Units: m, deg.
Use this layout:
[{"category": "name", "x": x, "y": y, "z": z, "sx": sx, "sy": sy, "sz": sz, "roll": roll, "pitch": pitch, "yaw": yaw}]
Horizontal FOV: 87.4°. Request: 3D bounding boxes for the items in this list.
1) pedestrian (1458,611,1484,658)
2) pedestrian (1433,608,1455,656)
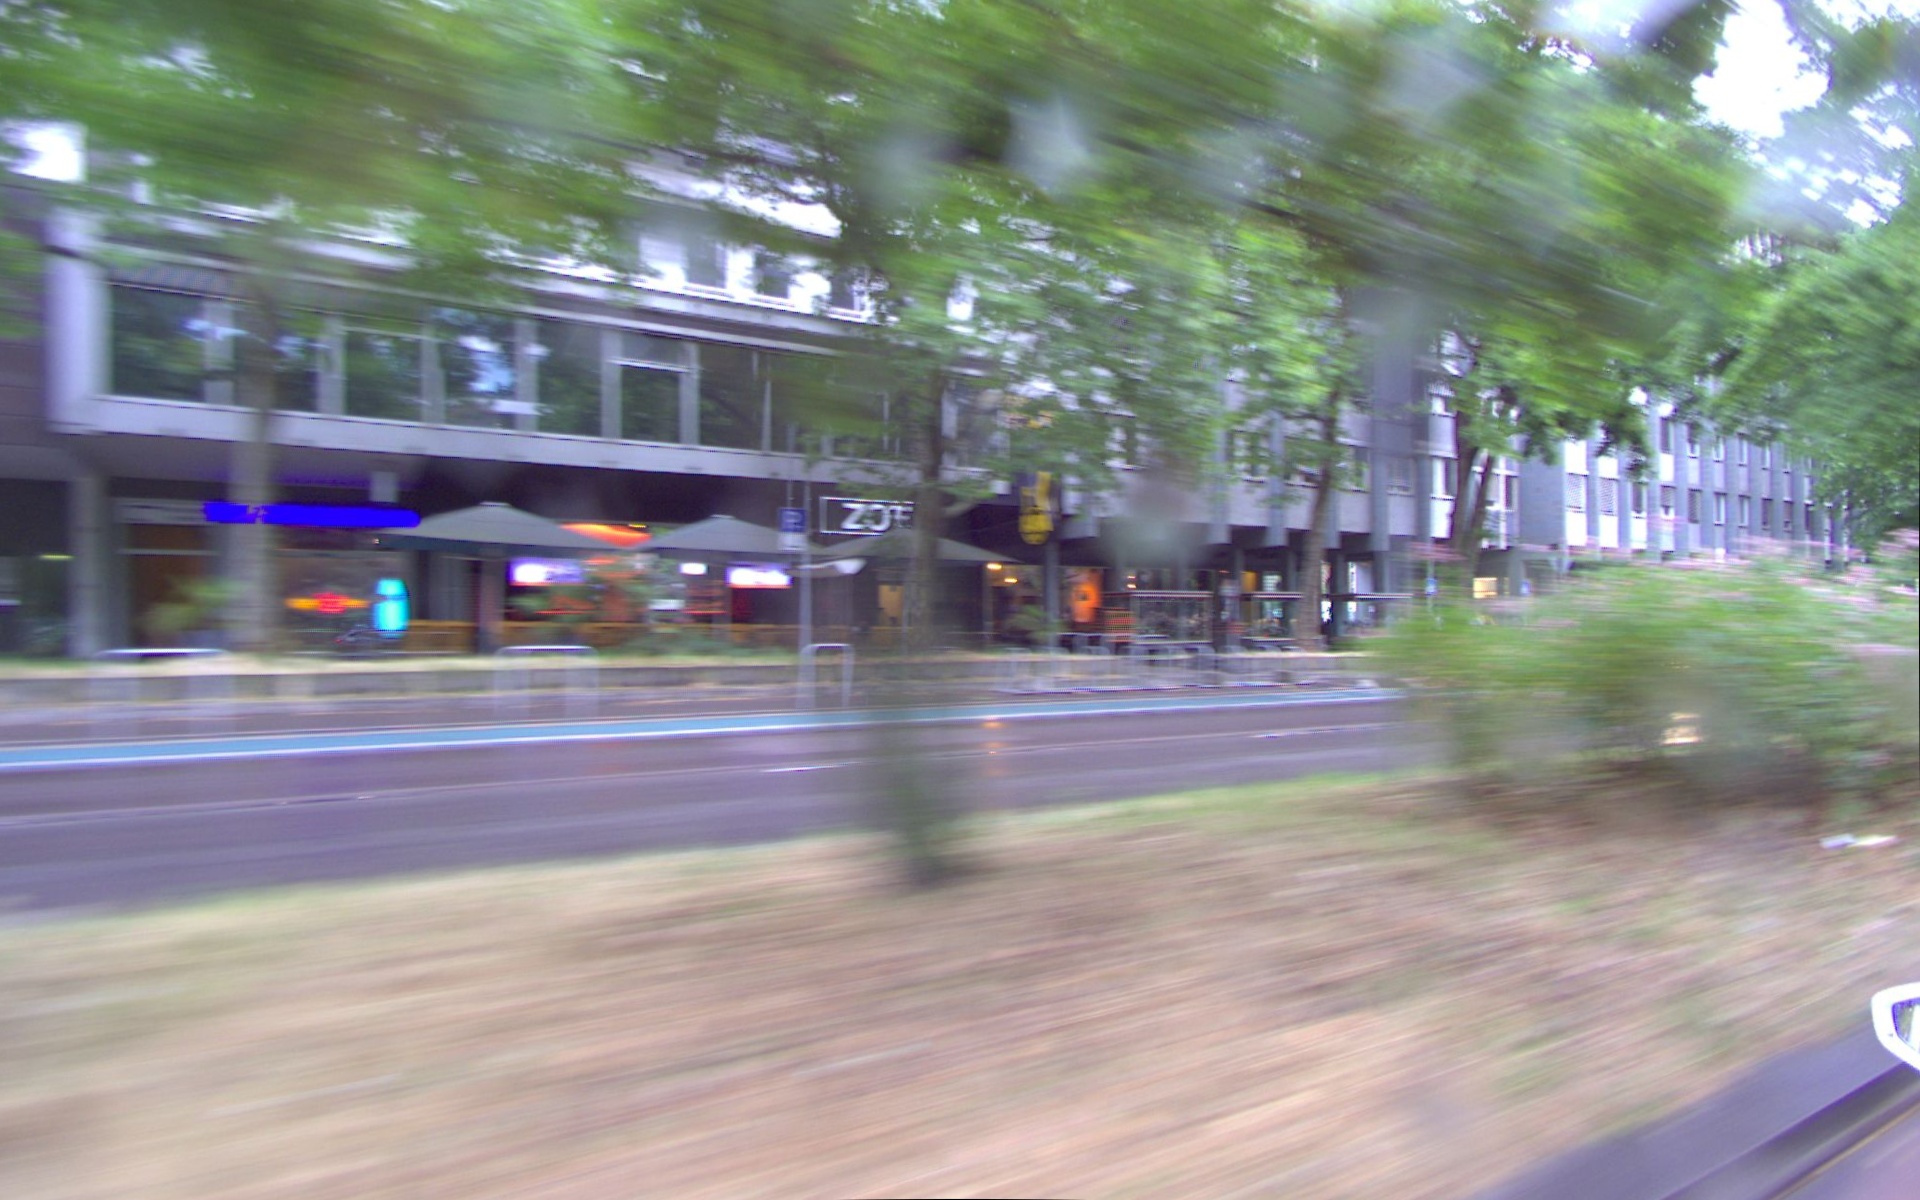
[{"category": "pedestrian", "x": 19.278, "y": 1.289, "z": 37.897, "sx": 0.678, "sy": 1.731, "sz": 0.561, "roll": 1, "pitch": -1, "yaw": -30}, {"category": "pedestrian", "x": 18.625, "y": 1.210, "z": 38.662, "sx": 0.516, "sy": 1.831, "sz": 0.545, "roll": 1, "pitch": 0, "yaw": -30}]
